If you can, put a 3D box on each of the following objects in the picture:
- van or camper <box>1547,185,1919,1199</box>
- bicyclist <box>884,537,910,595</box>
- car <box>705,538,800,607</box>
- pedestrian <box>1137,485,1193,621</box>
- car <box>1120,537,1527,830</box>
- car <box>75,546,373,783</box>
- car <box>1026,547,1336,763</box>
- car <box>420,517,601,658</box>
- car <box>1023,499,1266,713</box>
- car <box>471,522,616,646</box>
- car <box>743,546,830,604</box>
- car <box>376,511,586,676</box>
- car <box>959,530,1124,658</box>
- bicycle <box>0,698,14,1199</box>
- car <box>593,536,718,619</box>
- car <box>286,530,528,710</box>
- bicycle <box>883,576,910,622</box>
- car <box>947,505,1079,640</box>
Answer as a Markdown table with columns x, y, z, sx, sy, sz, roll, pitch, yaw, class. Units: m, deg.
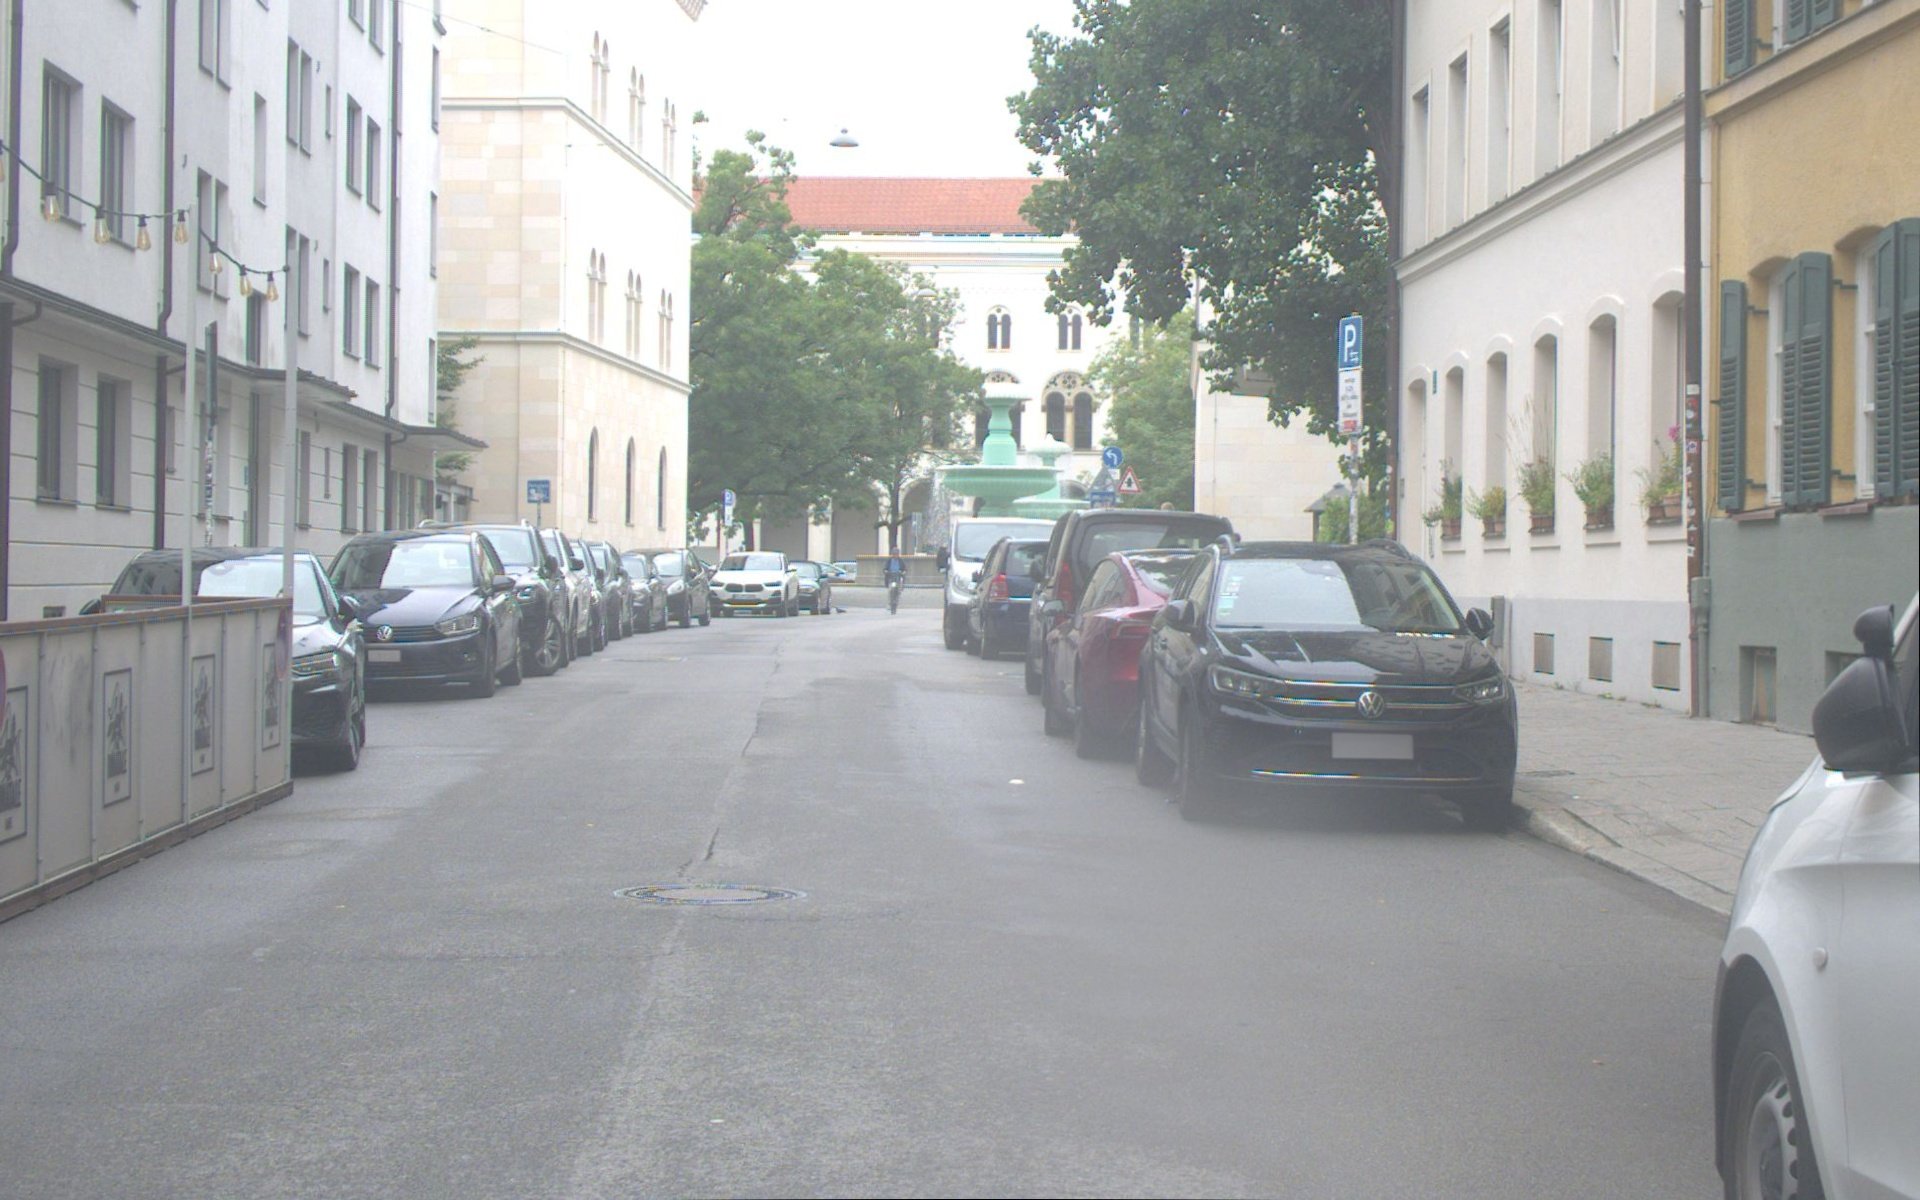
| x | y | z | sx | sy | sz | roll | pitch | yaw | class |
| --- | --- | --- | --- | --- | --- | --- | --- | --- | --- |
| 2.420 | 0.390 | 4.991 | 1.993 | 2.007 | 5.234 | 0 | 1 | -3 | van or camper |
| -1.697 | -0.911 | 92.726 | 0.657 | 1.545 | 0.887 | 0 | 0 | 1 | bicyclist |
| -4.847 | -0.636 | 80.925 | 1.778 | 1.529 | 4.211 | -1 | 0 | 2 | car |
| 3.337 | -0.765 | 56.022 | 0.793 | 2.190 | 0.814 | 1 | 1 | -2 | pedestrian |
| 1.938 | 0.385 | 19.414 | 1.745 | 1.459 | 4.001 | 0 | 1 | -2 | car |
| -4.793 | 0.354 | 22.822 | 1.638 | 1.349 | 4.060 | -2 | 2 | -8 | car |
| 1.501 | 0.328 | 24.900 | 1.713 | 1.419 | 4.458 | 0 | 1 | -3 | car |
| -5.681 | -0.205 | 43.926 | 1.872 | 1.652 | 4.591 | -1 | 2 | -3 | car |
| 1.626 | 0.028 | 31.646 | 1.846 | 1.770 | 4.201 | 2 | 0 | -1 | car |
| -5.984 | -0.269 | 49.824 | 1.872 | 1.652 | 4.591 | -2 | 2 | -5 | car |
| -4.376 | -0.622 | 87.301 | 1.698 | 1.388 | 4.211 | -1 | 0 | 4 | car |
| -5.282 | -0.131 | 38.440 | 1.872 | 1.682 | 4.521 | -1 | 2 | -3 | car |
| 1.038 | -0.107 | 45.731 | 1.807 | 1.595 | 4.216 | 1 | 1 | -4 | car |
| -2.315 | 0.800 | 6.260 | 0.732 | 1.147 | 2.000 | 0 | 1 | -3 | bicycle |
| -5.780 | -0.446 | 65.643 | 1.751 | 1.448 | 4.015 | -1 | 2 | 4 | car |
| -5.188 | 0.135 | 32.711 | 1.773 | 1.534 | 4.160 | -1 | 2 | -3 | car |
| -1.707 | -0.032 | 92.710 | 0.648 | 1.193 | 1.950 | -1 | 1 | 0 | bicycle |
| 0.765 | -0.436 | 51.677 | 1.882 | 1.917 | 4.875 | 0 | 1 | 0 | car |
